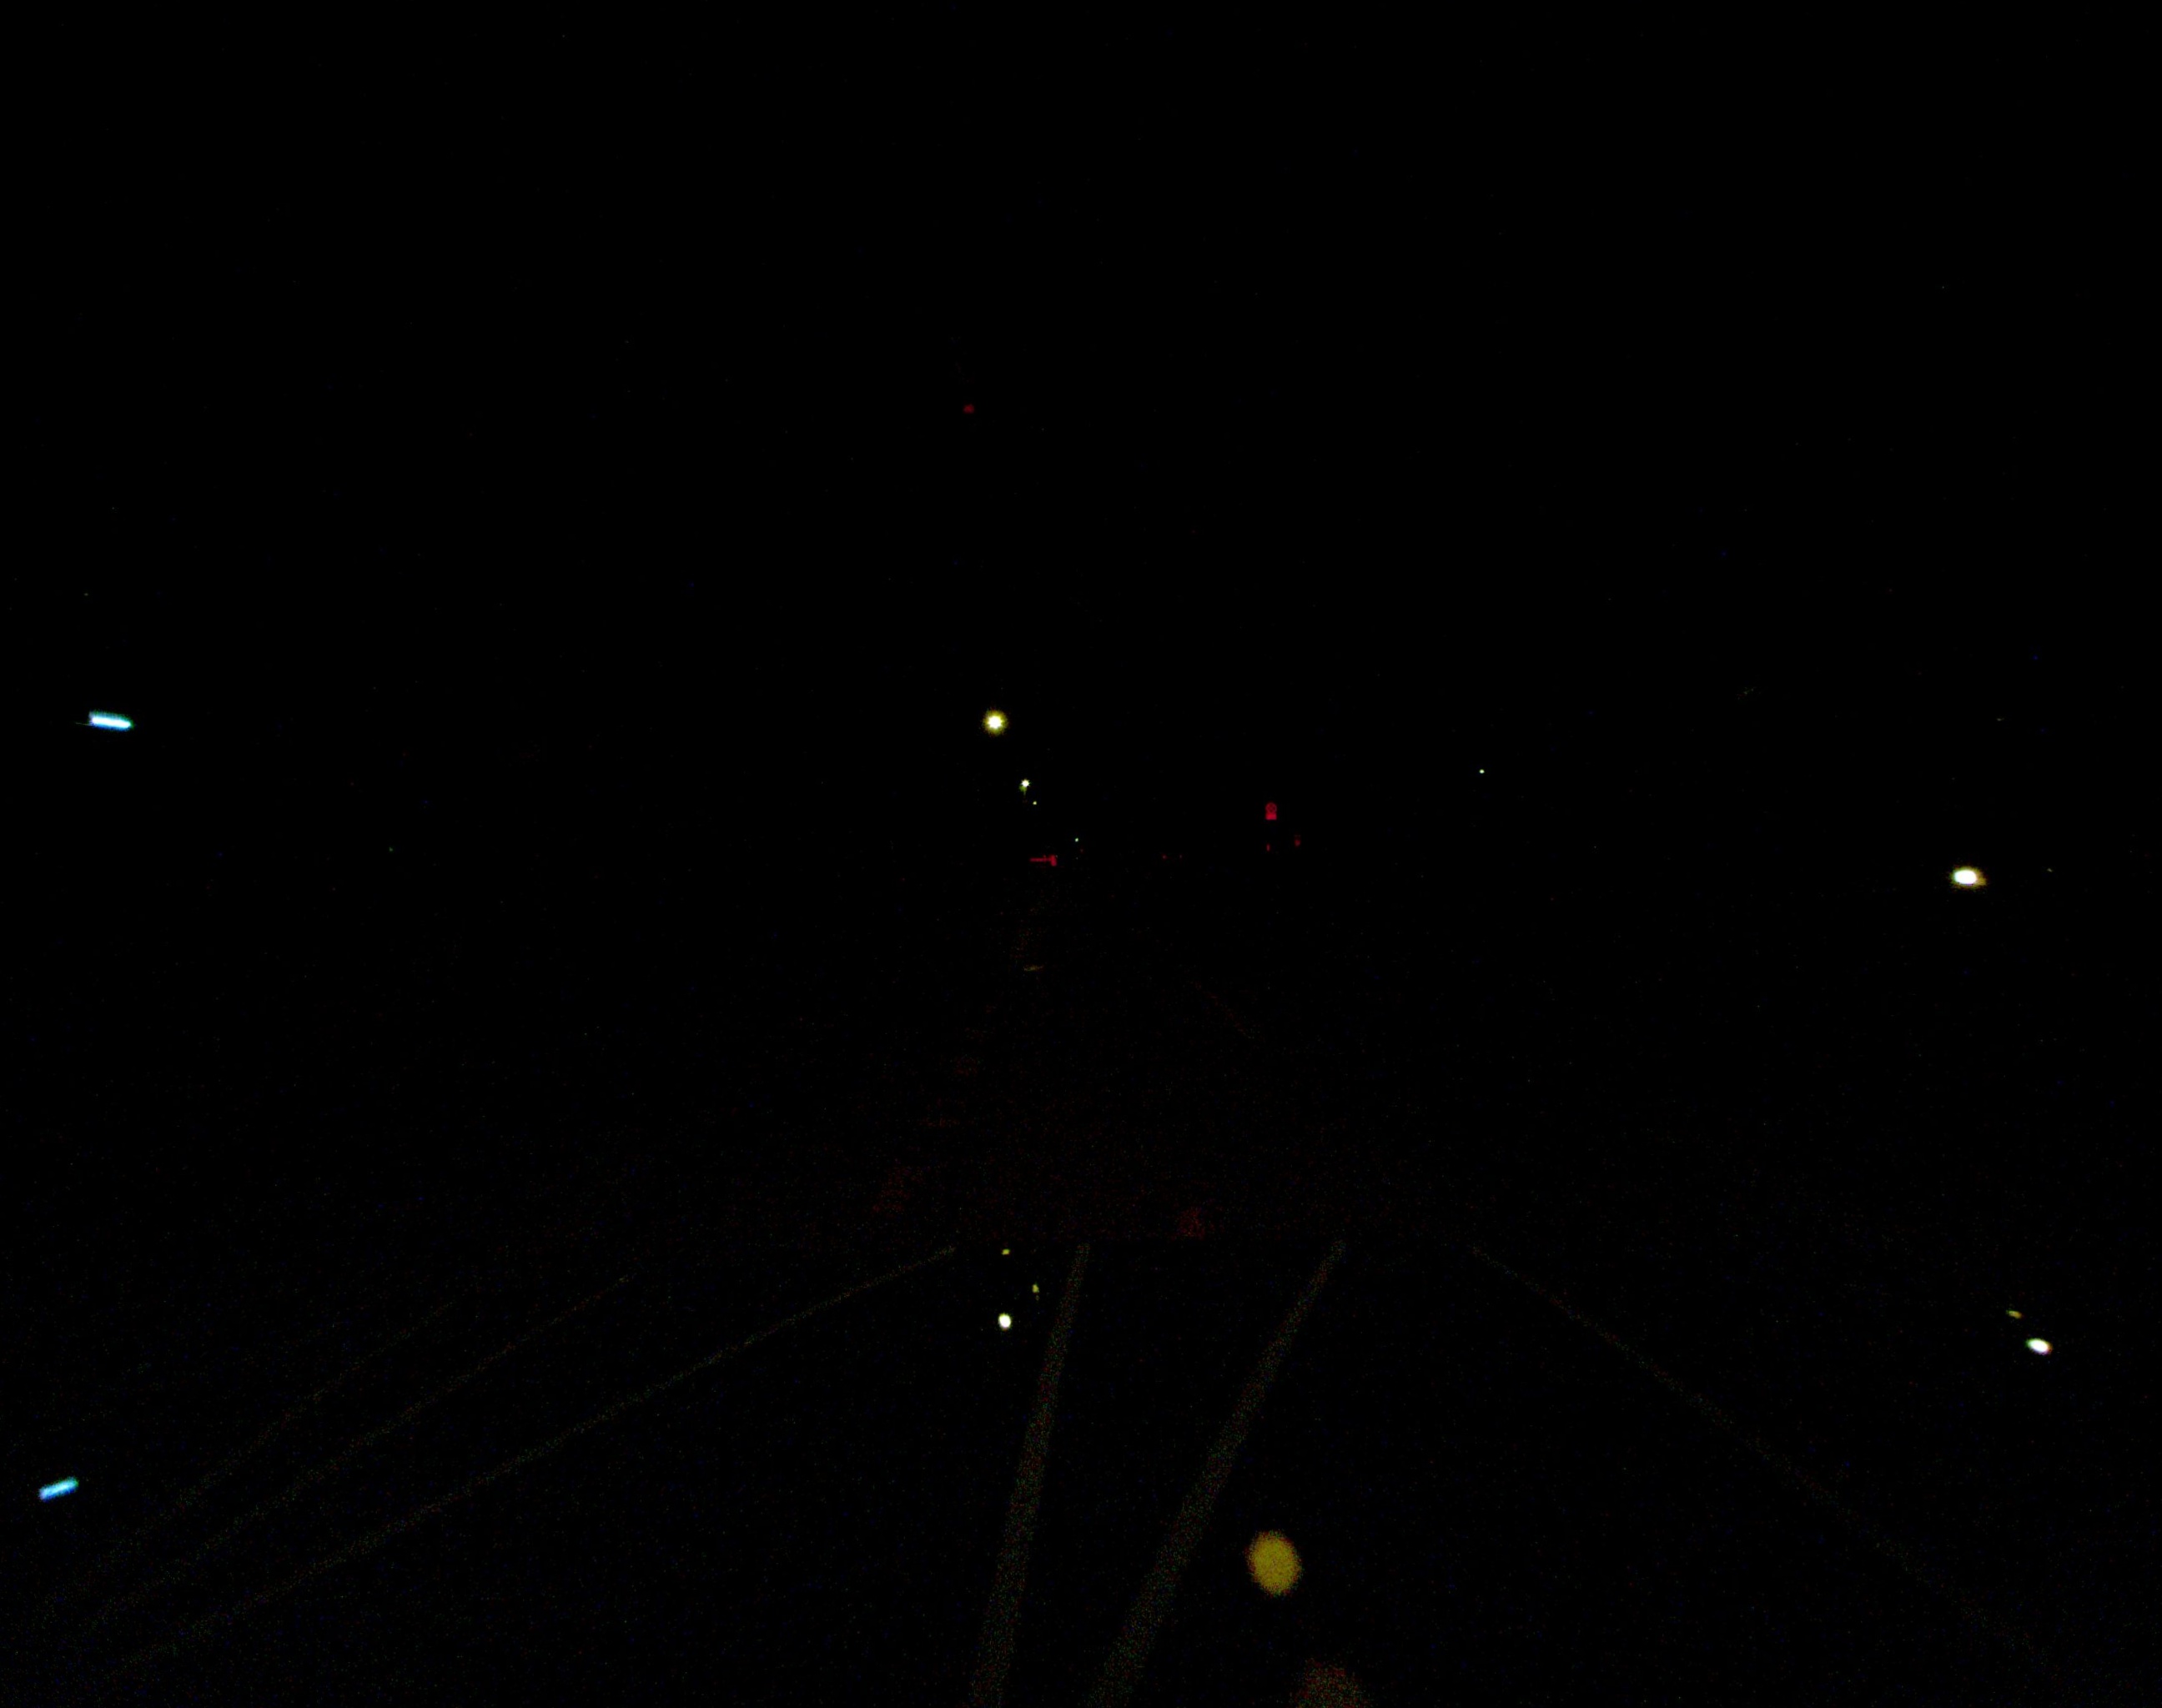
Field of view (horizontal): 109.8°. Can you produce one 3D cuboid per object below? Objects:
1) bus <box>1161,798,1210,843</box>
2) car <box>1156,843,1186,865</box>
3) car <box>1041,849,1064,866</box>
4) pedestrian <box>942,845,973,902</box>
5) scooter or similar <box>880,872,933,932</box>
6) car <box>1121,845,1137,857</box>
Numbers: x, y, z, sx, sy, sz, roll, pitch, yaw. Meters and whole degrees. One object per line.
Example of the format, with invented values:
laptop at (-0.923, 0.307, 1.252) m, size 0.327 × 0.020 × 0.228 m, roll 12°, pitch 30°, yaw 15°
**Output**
bus at (17.552, -5.434, 129.108) m, size 6.135 × 6.898 × 14.781 m, roll -2°, pitch 1°, yaw 1°
car at (7.190, -0.021, 60.884) m, size 1.806 × 1.583 × 3.999 m, roll -2°, pitch 1°, yaw -1°
car at (-2.897, 0.339, 78.231) m, size 1.998 × 1.638 × 4.000 m, roll 0°, pitch 2°, yaw 4°
pedestrian at (-4.210, 0.649, 25.979) m, size 0.819 × 1.854 × 1.034 m, roll -2°, pitch 1°, yaw 1°
scooter or similar at (-3.669, 1.003, 16.063) m, size 0.468 × 1.195 × 1.137 m, roll -2°, pitch 0°, yaw 24°
car at (6.278, -0.352, 100.321) m, size 1.863 × 1.484 × 4.080 m, roll -2°, pitch 1°, yaw 1°
